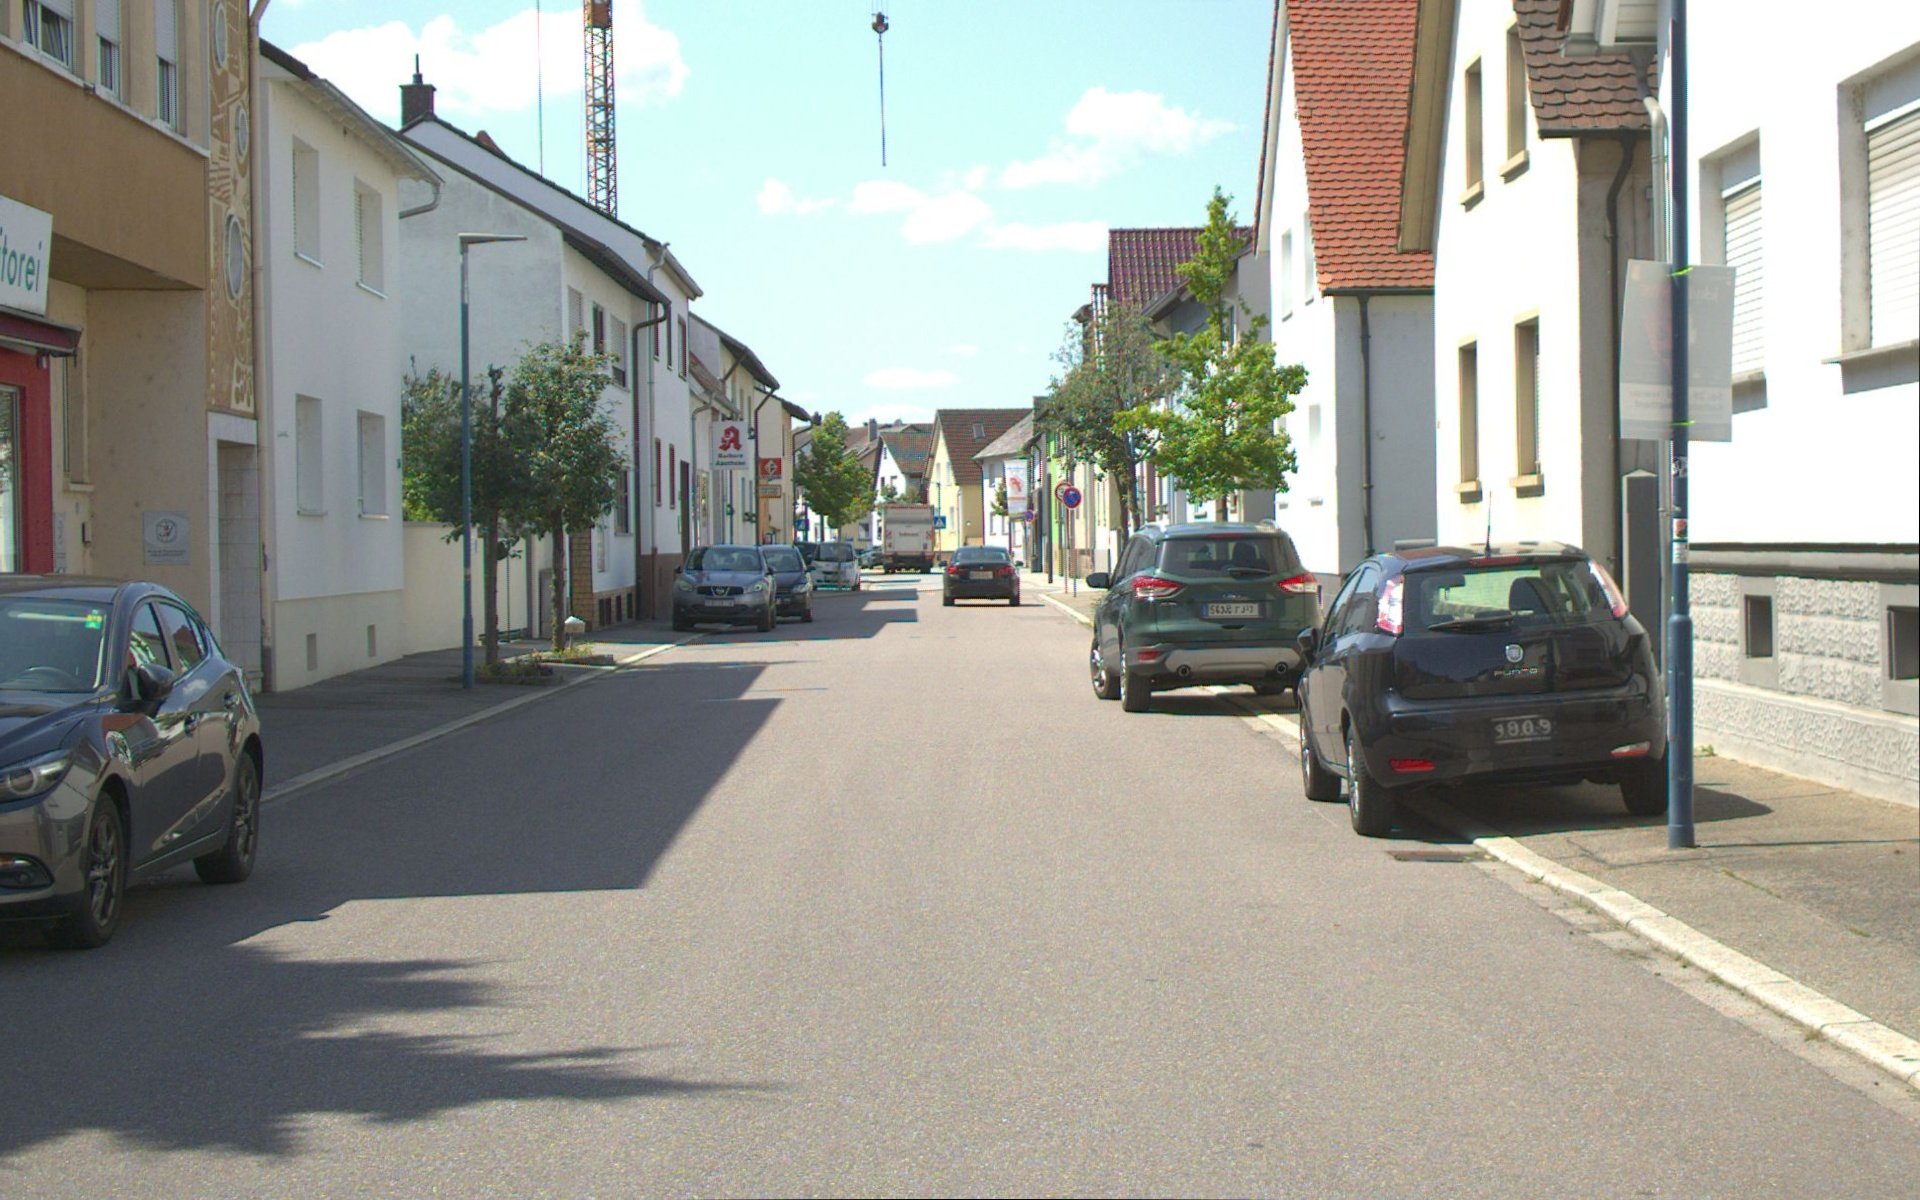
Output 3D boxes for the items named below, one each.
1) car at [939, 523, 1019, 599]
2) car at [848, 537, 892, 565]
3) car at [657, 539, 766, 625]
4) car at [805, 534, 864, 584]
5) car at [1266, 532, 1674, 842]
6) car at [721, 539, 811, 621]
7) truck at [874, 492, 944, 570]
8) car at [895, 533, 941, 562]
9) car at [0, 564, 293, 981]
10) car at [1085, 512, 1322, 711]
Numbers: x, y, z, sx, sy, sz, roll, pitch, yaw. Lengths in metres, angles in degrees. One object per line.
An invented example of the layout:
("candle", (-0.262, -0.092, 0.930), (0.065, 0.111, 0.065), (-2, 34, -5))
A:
("car", (0.428, -0.945, 83.490), (1.782, 1.747, 4.000), (-2, 1, -1))
("car", (-5.925, -3.218, 226.516), (1.820, 1.747, 4.230), (-2, 1, -16))
("car", (-4.604, -0.363, 64.059), (1.758, 1.519, 4.289), (-1, 1, -1))
("car", (-3.997, -1.331, 110.105), (1.723, 1.550, 4.172), (1, 1, 0))
("car", (2.785, 0.406, 19.566), (1.617, 1.490, 3.972), (-3, 1, 0))
("car", (-3.957, -0.433, 70.590), (1.653, 1.603, 4.061), (-1, 1, -1))
("truck", (-2.757, -3.556, 180.654), (3.378, 3.852, 13.927), (-2, 1, -2))
("car", (-2.678, -3.298, 217.135), (1.782, 1.747, 4.230), (-2, 1, -17))
("car", (-4.201, 0.605, 14.576), (1.768, 1.455, 4.436), (-1, 1, 1))
("car", (2.207, 0.060, 32.191), (1.728, 1.711, 4.276), (-1, 1, -2))
